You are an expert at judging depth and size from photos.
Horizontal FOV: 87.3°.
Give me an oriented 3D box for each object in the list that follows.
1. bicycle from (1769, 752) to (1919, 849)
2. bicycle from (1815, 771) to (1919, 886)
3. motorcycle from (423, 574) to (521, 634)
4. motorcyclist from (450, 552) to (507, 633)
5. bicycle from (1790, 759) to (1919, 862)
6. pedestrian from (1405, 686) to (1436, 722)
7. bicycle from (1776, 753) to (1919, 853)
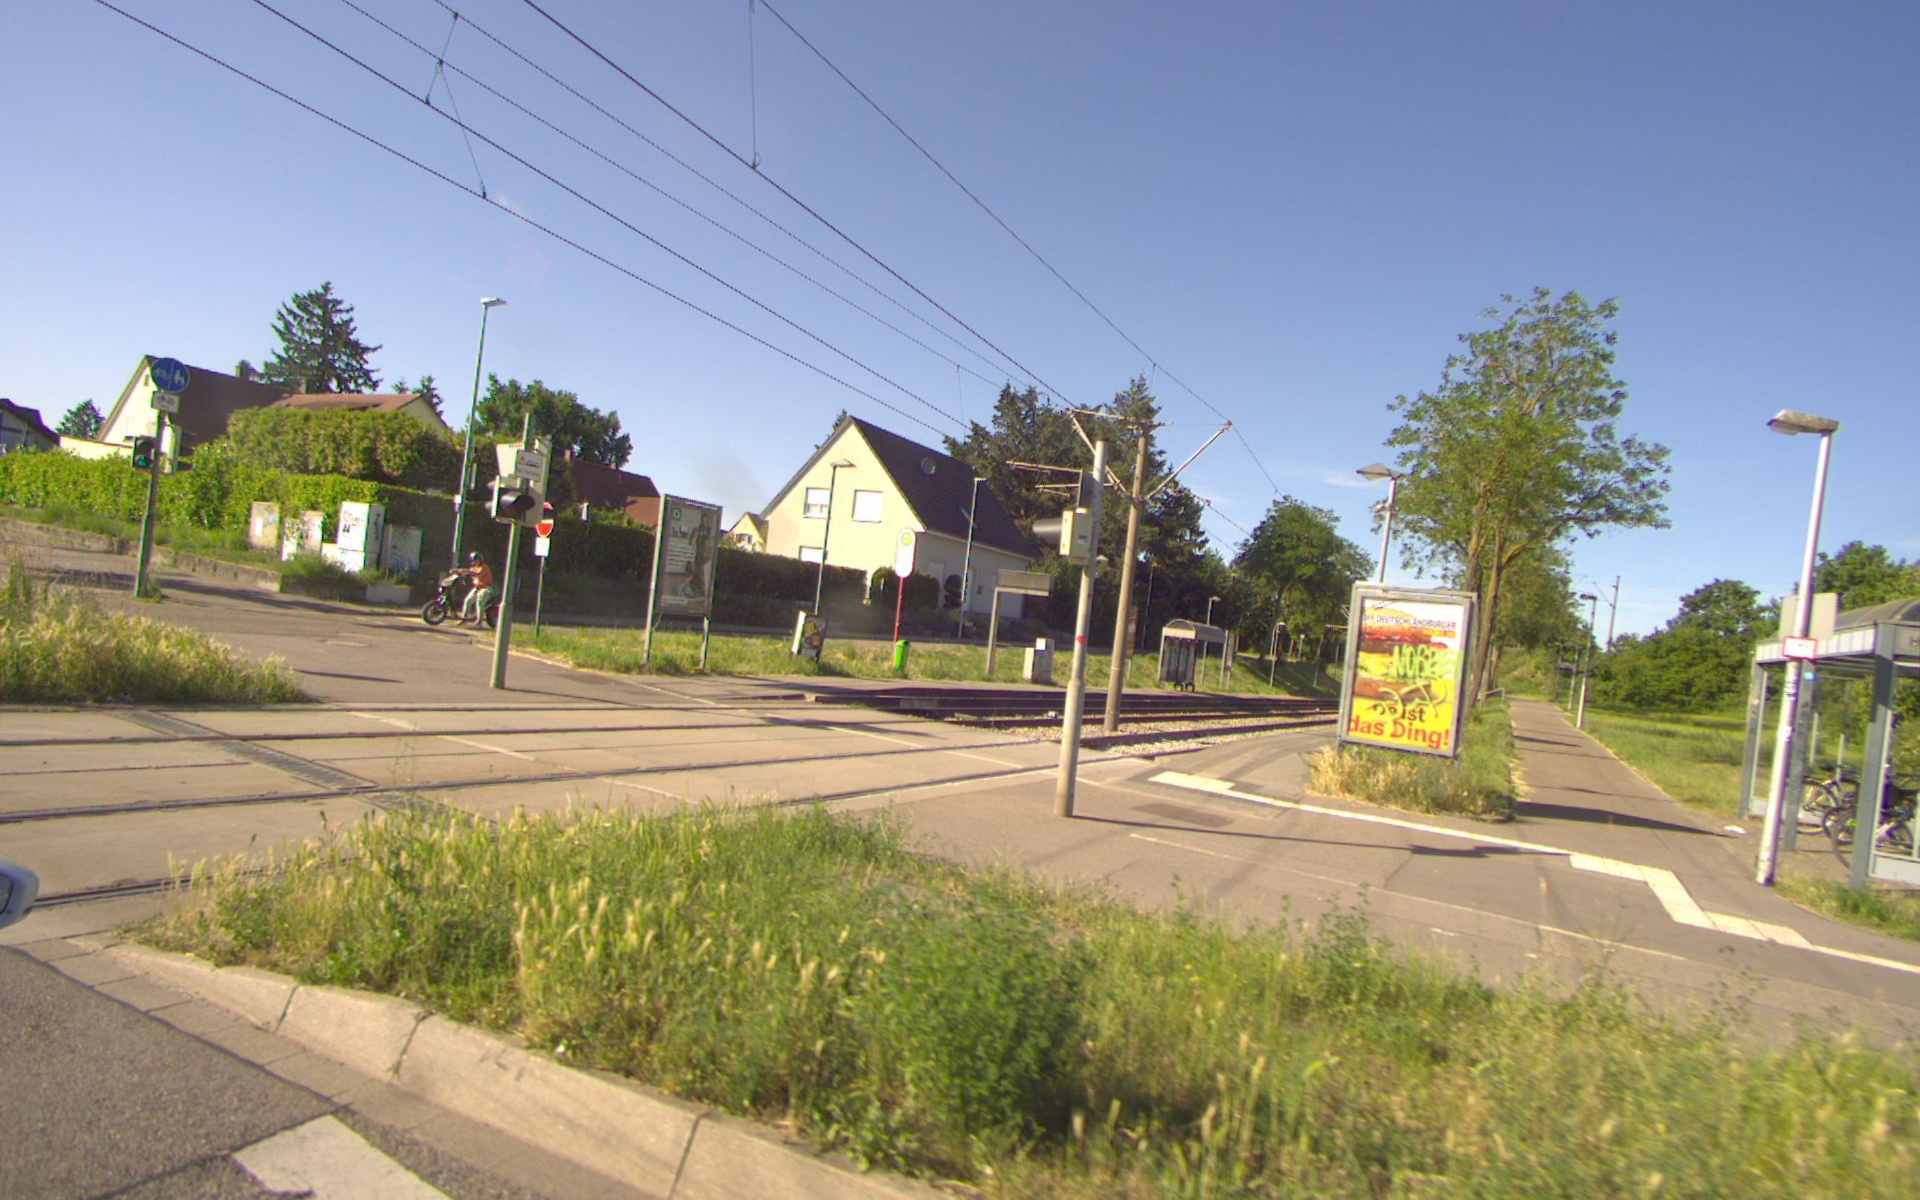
[{"bbox_3d":[12.076,2.692,13.548,1.757,1.081,0.430,2,-1,32],"label":"bicycle"},{"bbox_3d":[10.271,2.471,10.667,1.757,1.081,0.430,2,-1,32],"label":"bicycle"},{"bbox_3d":[-10.156,0.096,20.991,0.444,1.084,1.756,7,0,35],"label":"motorcycle"},{"bbox_3d":[-10.107,-0.157,21.133,0.689,1.577,0.693,7,1,35],"label":"motorcyclist"},{"bbox_3d":[11.444,2.615,12.428,1.757,1.081,0.430,2,-1,32],"label":"bicycle"},{"bbox_3d":[17.641,3.982,38.527,0.926,1.257,0.560,4,-3,32],"label":"pedestrian"},{"bbox_3d":[11.795,2.645,13.092,1.757,1.081,0.430,2,-1,32],"label":"bicycle"}]
